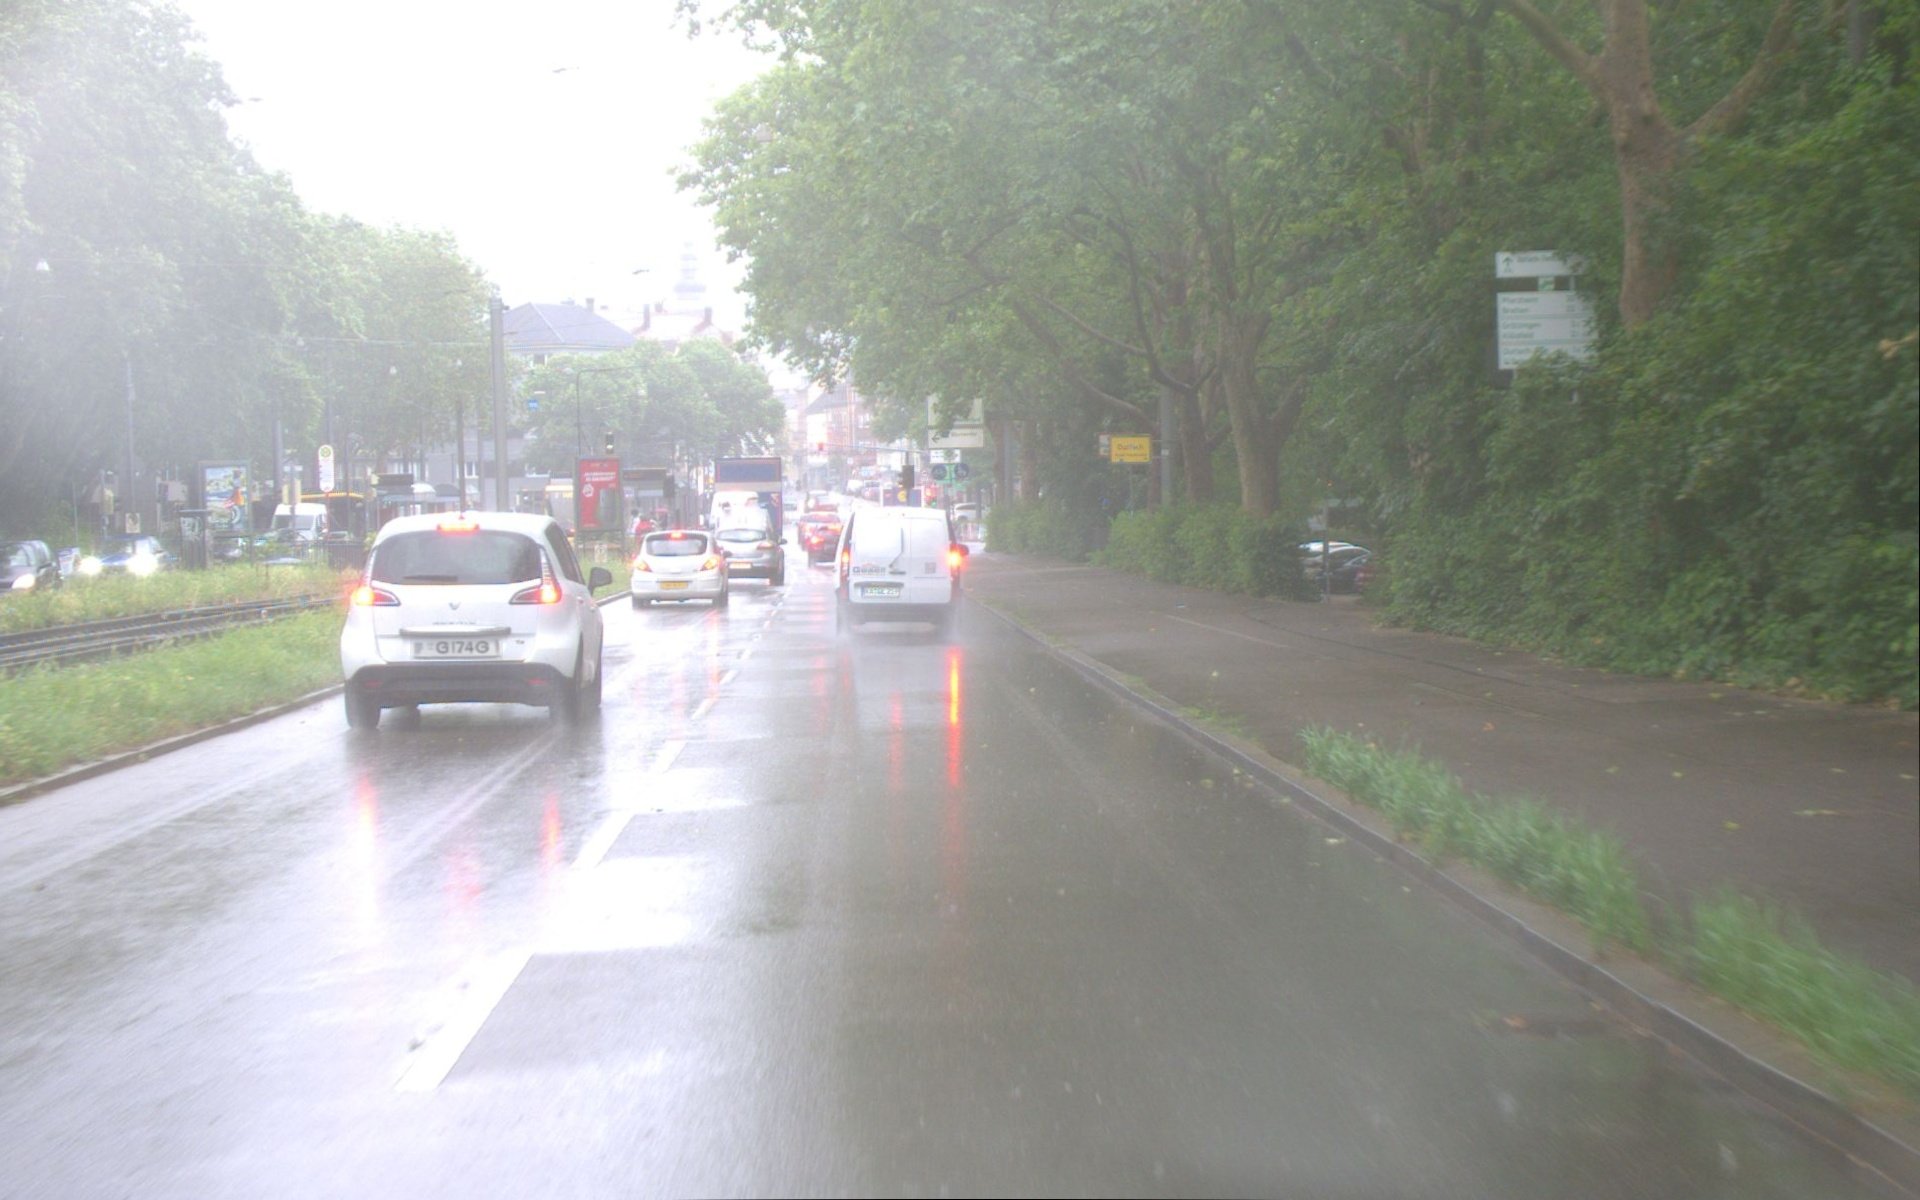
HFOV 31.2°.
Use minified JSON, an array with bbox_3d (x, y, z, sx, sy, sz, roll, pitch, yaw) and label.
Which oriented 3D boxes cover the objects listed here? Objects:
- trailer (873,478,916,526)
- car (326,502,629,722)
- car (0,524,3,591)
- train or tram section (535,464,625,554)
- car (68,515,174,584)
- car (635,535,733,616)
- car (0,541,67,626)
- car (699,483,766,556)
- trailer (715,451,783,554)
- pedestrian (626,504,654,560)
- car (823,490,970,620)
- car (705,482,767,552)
[{"bbox_3d":[-3.270,-4.908,171.903,1.993,2.309,4.669,0,1,-3],"label":"trailer"},{"bbox_3d":[-3.770,0.051,27.526,1.864,1.618,4.263,0,1,-1],"label":"car"},{"bbox_3d":[-25.554,-1.208,86.514,2.031,2.085,4.805,-2,1,-7],"label":"car"},{"bbox_3d":[-14.538,-3.556,132.199,2.961,3.274,8.362,-2,2,-4],"label":"train or tram section"},{"bbox_3d":[-22.638,-1.368,92.927,2.031,1.745,4.695,-2,1,-5],"label":"car"},{"bbox_3d":[-5.141,-0.467,64.399,1.725,1.474,3.806,0,1,-3],"label":"car"},{"bbox_3d":[-20.566,-0.351,73.637,2.031,1.745,4.260,-2,1,-5],"label":"car"},{"bbox_3d":[-8.197,-2.891,124.379,2.329,2.548,6.115,0,1,-3],"label":"car"},{"bbox_3d":[-8.254,-3.777,133.836,2.590,3.886,7.638,0,2,-4],"label":"trailer"},{"bbox_3d":[-9.964,-2.111,107.048,0.790,1.708,0.771,1,0,-3],"label":"pedestrian"},{"bbox_3d":[-0.933,-0.635,48.728,1.959,1.771,3.570,0,1,-3],"label":"car"},{"bbox_3d":[-7.519,-2.763,115.605,1.993,2.254,5.289,0,1,-3],"label":"car"}]
